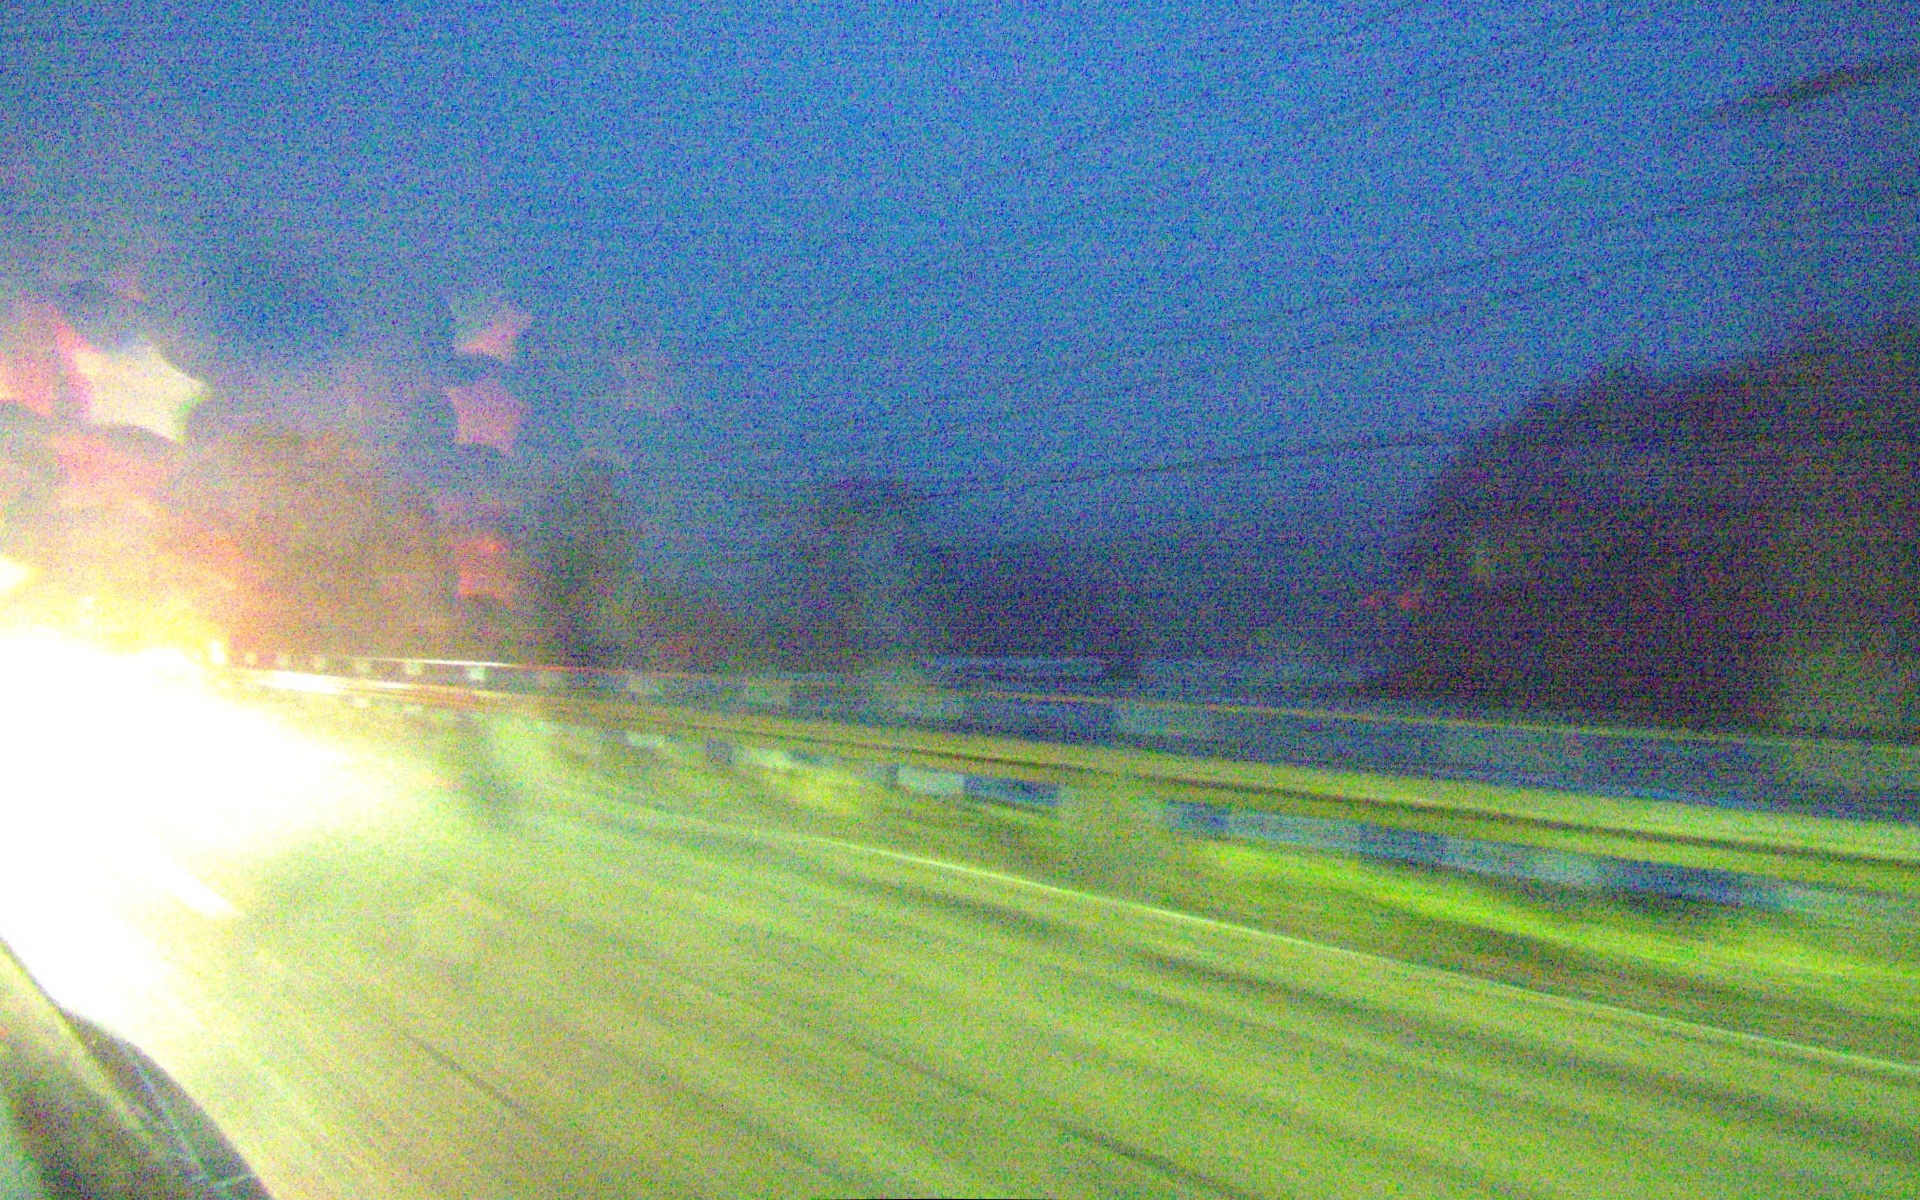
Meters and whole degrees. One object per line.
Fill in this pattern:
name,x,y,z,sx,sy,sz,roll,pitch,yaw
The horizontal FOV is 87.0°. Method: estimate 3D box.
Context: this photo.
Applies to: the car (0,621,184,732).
car,-13.991,1.152,16.172,3.799,1.550,1.776,-1,-4,42
